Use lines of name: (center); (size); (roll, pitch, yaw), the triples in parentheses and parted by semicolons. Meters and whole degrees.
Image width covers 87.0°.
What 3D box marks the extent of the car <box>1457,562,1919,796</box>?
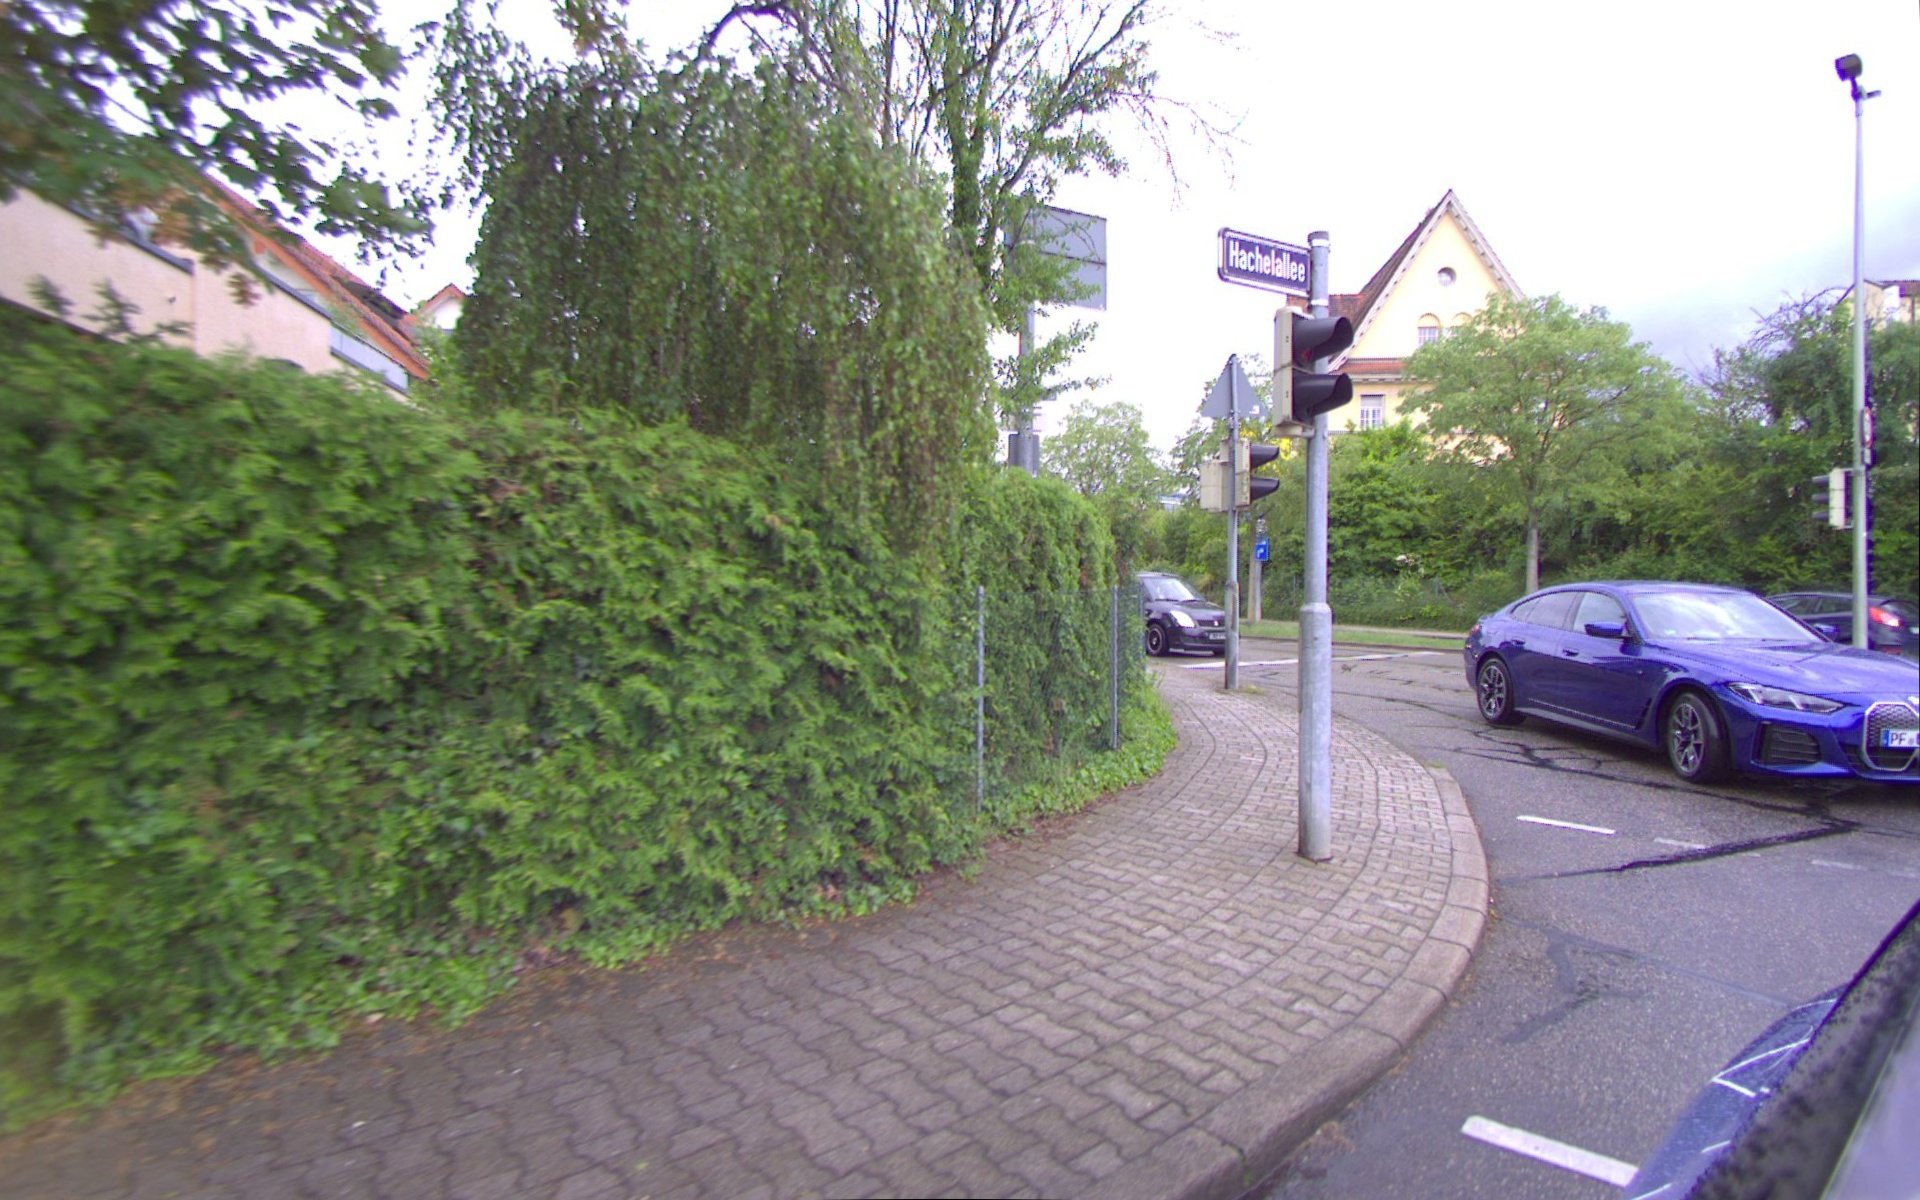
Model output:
car: (6.366, 0.452, 8.910); (1.879, 1.514, 4.349); (-1, 2, 1)

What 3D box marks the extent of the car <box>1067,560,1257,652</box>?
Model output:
car: (3.719, 0.053, 19.361); (1.711, 1.538, 4.009); (-2, 2, -20)

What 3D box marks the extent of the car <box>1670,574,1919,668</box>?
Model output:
car: (16.115, 0.294, 19.134); (1.886, 1.519, 4.009); (-1, 2, -23)
